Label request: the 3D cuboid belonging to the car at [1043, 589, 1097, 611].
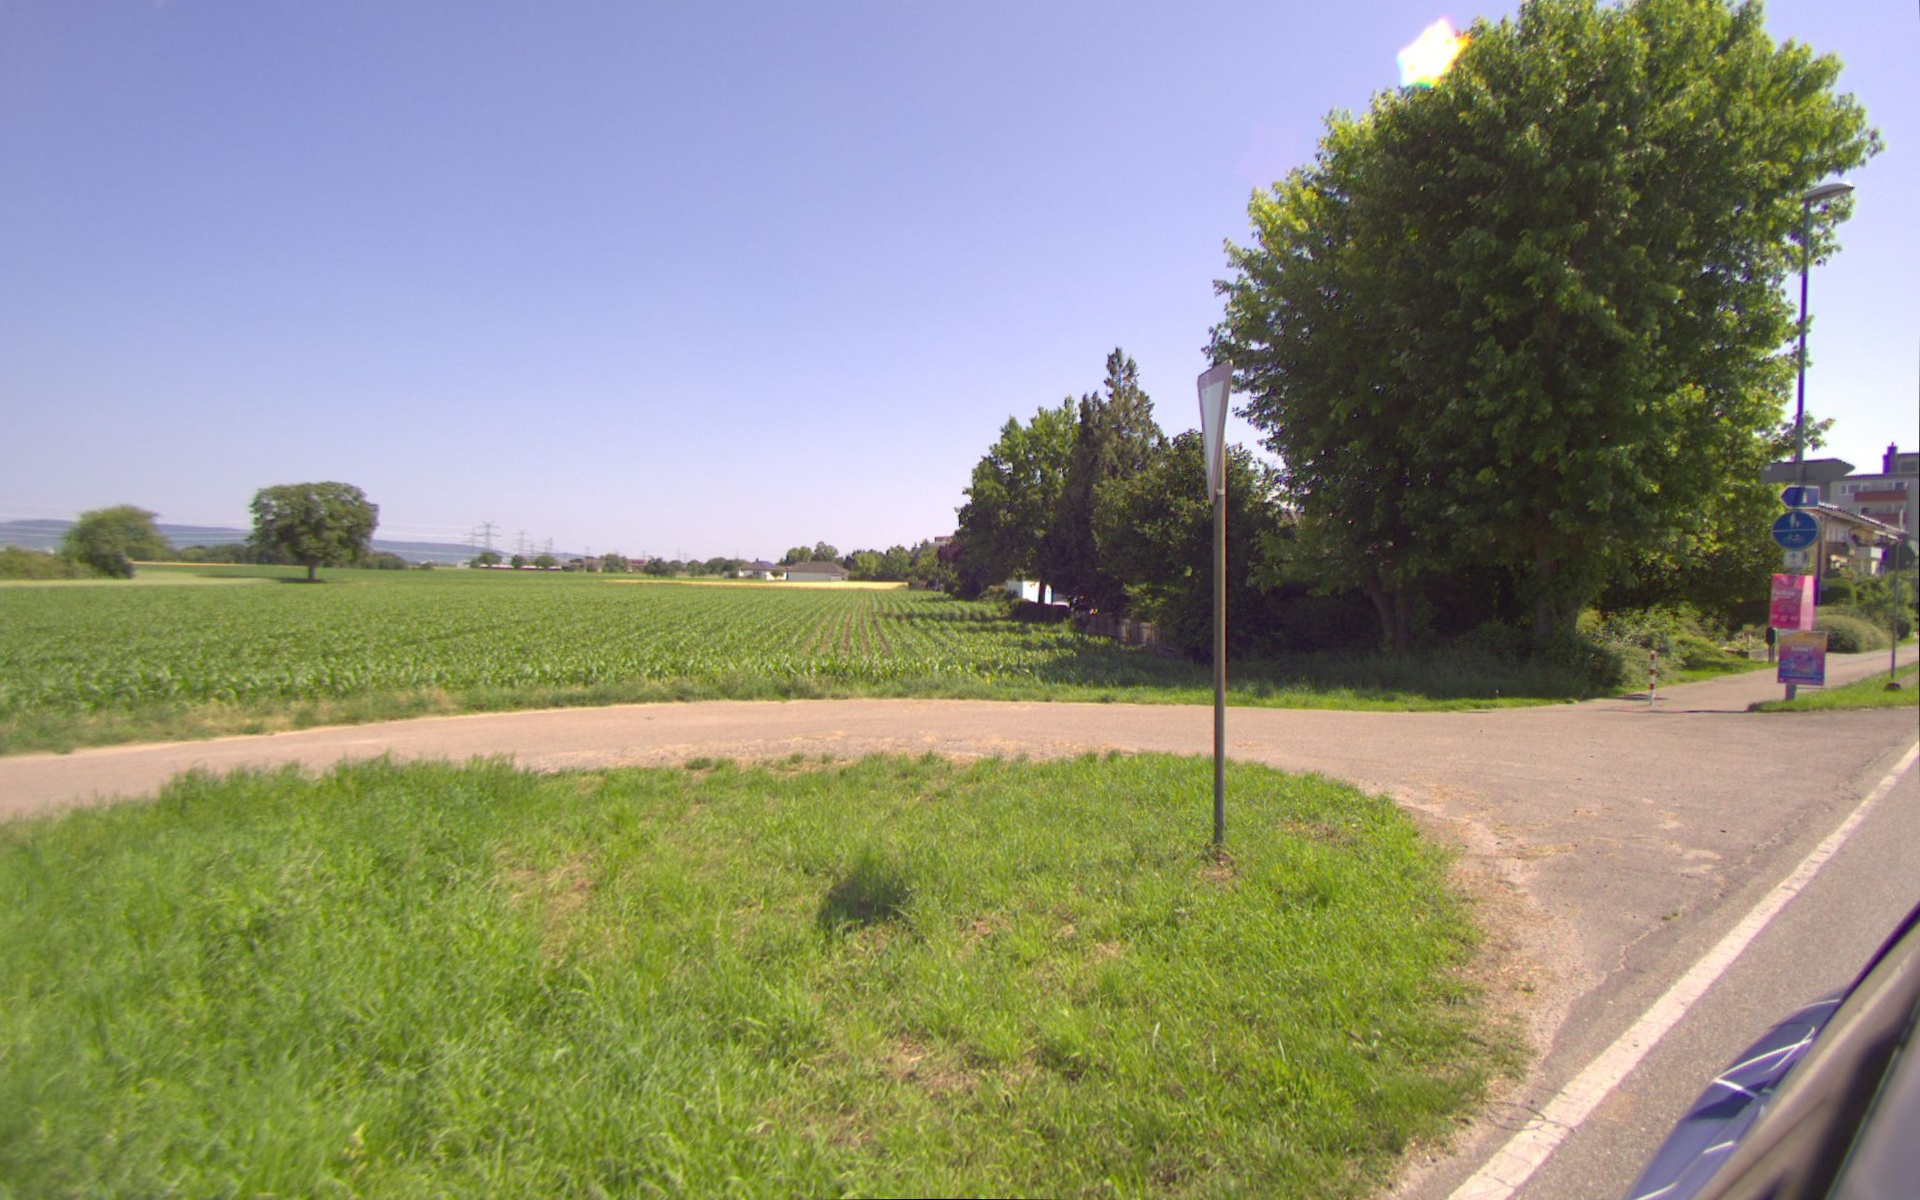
[{"bbox_3d":[8.393,-0.018,77.017,3.930,1.638,1.997,0,0,-41],"label":"car"}]
